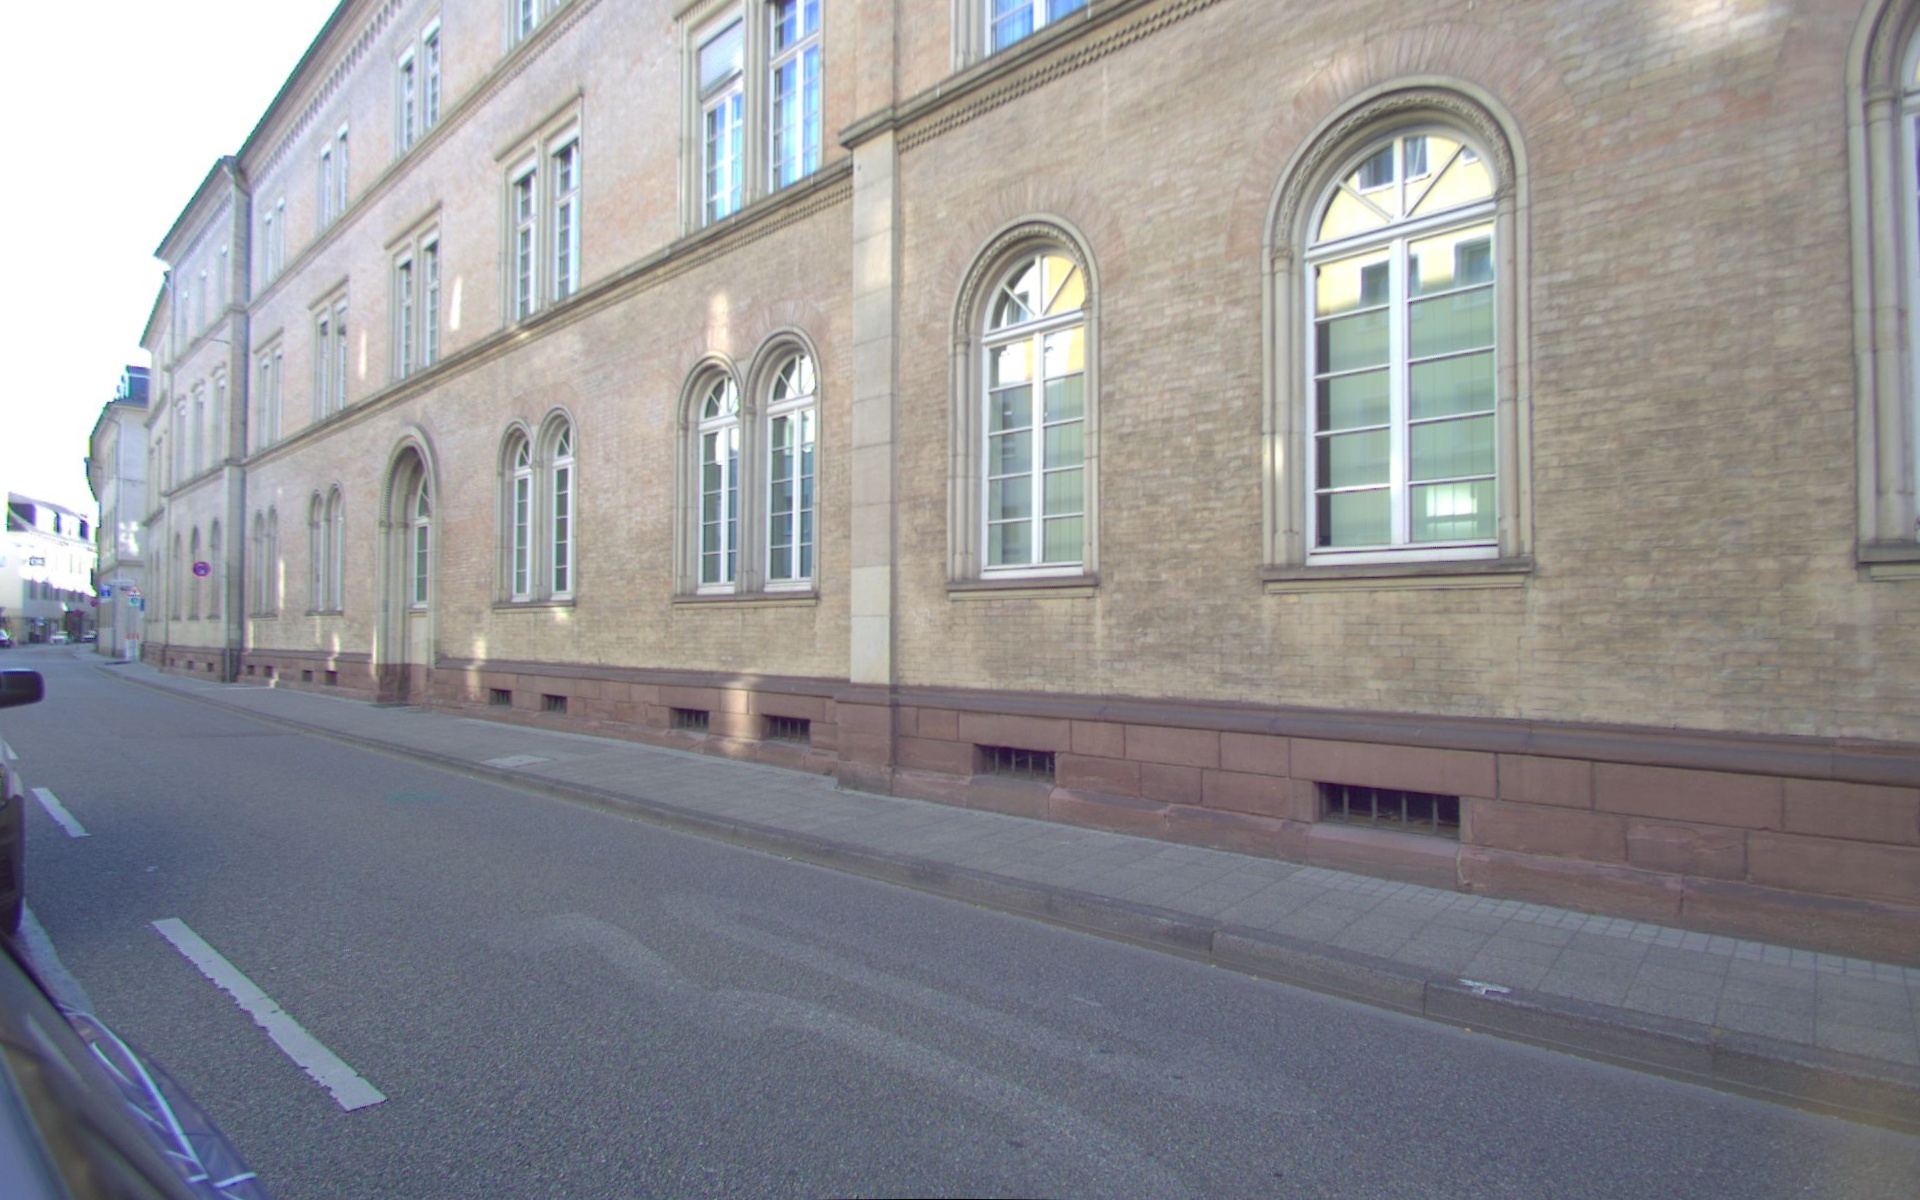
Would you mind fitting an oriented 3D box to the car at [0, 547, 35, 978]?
[{"bbox_3d":[-6.482,0.681,5.359,5.329,1.784,1.747,-1,-2,41],"label":"car"}]

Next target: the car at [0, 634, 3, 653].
[{"bbox_3d":[-86.605,3.887,89.963,1.969,1.665,4.235,-1,0,-41],"label":"car"}]

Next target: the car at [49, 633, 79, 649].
[{"bbox_3d":[-102.845,4.677,116.190,1.966,1.665,4.240,-1,0,-33],"label":"car"}]

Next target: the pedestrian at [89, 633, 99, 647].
[{"bbox_3d":[-100.947,4.656,118.016,0.694,1.648,0.834,5,-4,-36],"label":"pedestrian"}]

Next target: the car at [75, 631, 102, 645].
[{"bbox_3d":[-109.218,4.754,126.843,1.966,1.665,4.240,-1,0,-33],"label":"car"}]
